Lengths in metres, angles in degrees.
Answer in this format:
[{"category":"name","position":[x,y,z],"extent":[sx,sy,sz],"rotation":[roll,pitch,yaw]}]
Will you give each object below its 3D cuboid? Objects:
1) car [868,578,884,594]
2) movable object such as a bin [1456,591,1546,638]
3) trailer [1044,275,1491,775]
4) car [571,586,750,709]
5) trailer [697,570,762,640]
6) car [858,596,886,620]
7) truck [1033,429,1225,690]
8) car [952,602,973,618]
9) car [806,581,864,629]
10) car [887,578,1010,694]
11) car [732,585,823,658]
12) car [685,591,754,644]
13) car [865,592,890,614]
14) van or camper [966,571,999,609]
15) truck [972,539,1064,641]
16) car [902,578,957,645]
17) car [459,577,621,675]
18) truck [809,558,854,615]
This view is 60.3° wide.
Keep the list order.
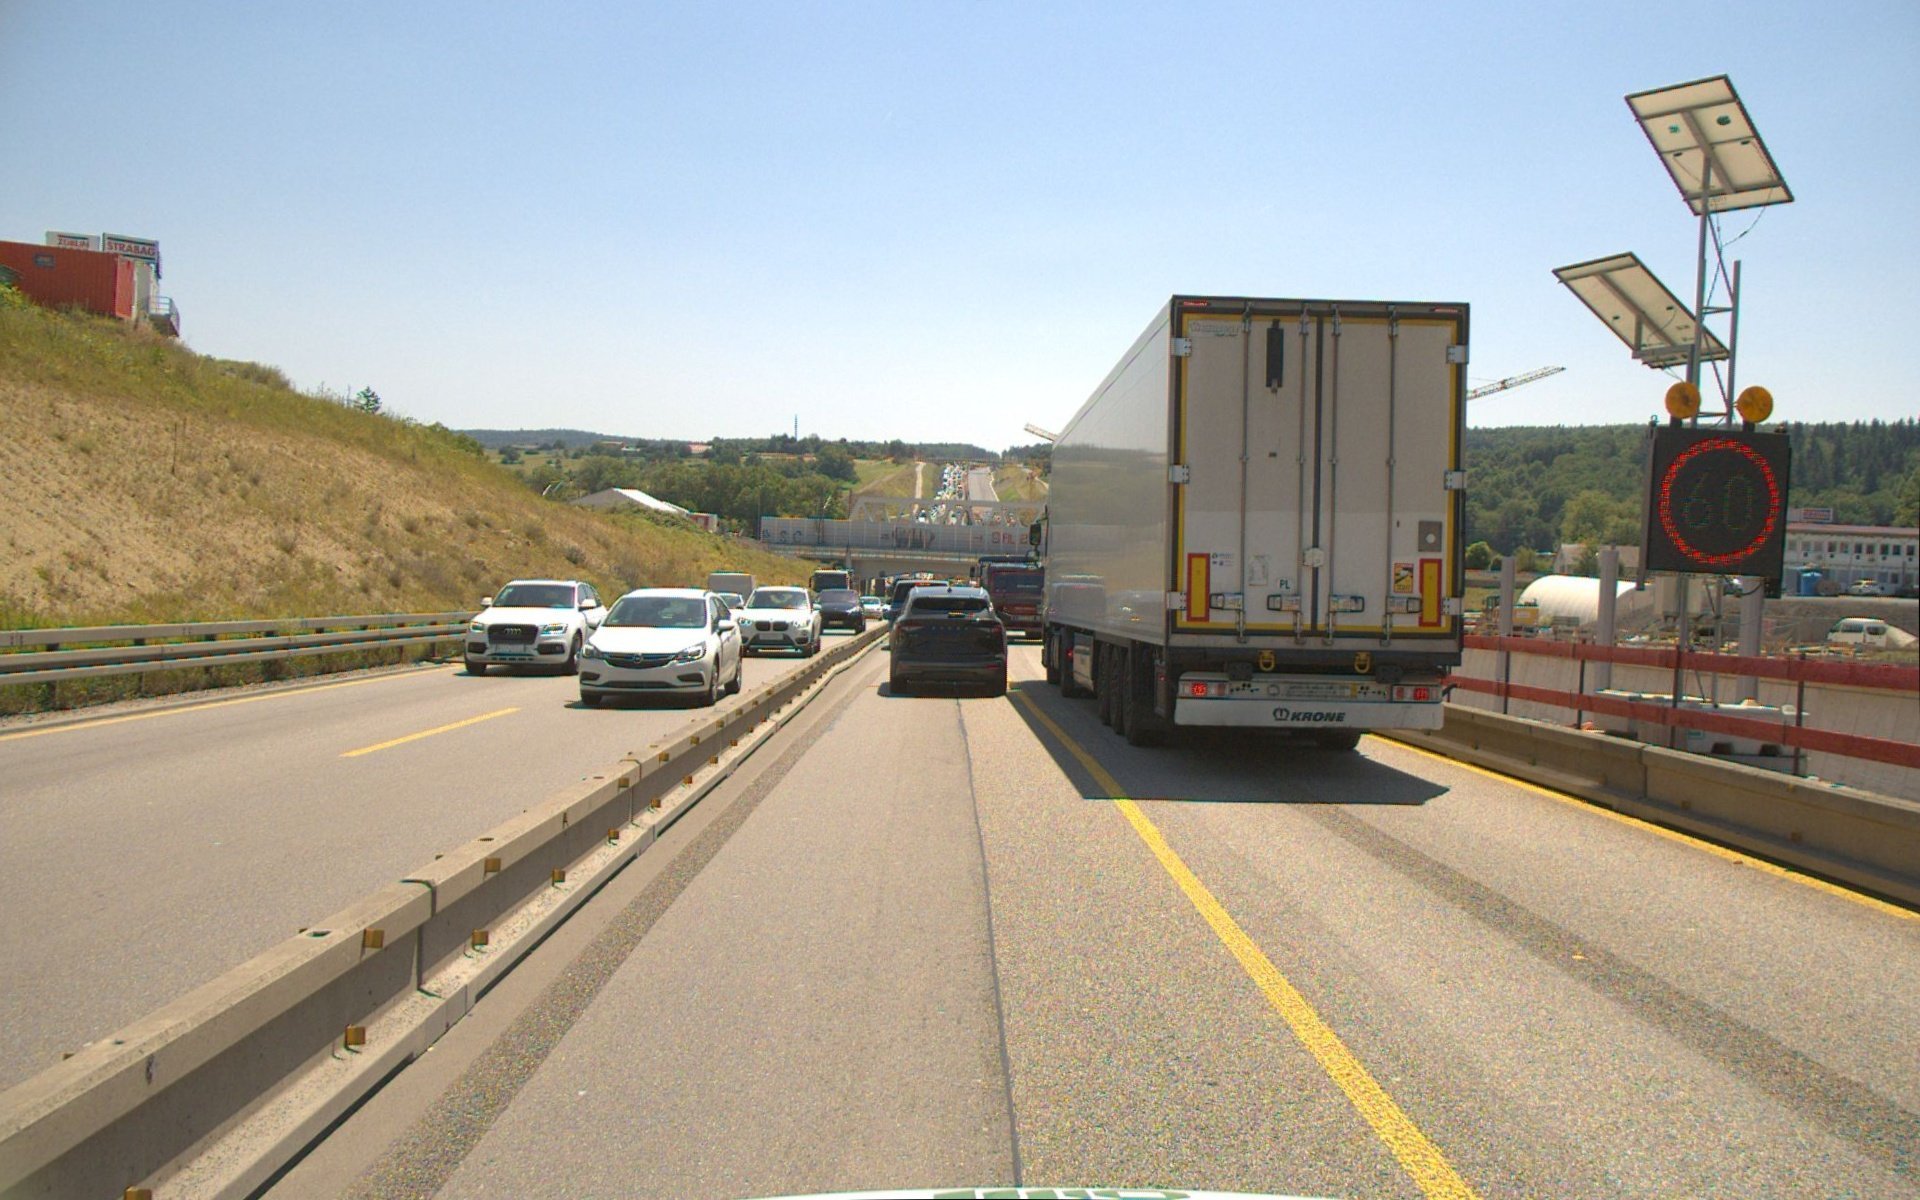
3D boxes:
[{"category":"car","position":[-9.842,-1.621,193.990],"extent":[1.697,1.825,3.580],"rotation":[1,0,-1]},{"category":"movable object such as a bin","position":[35.874,0.911,110.043],"extent":[2.828,2.960,9.478],"rotation":[1,0,0]},{"category":"trailer","position":[2.930,-0.620,20.831],"extent":[2.744,4.129,14.113],"rotation":[1,0,-1]},{"category":"car","position":[-4.005,0.582,22.772],"extent":[1.769,1.503,4.279],"rotation":[1,0,-2]},{"category":"trailer","position":[-7.075,0.125,51.074],"extent":[1.614,2.061,4.267],"rotation":[0,0,-3]},{"category":"car","position":[-5.441,0.492,102.360],"extent":[1.650,1.455,3.291],"rotation":[1,0,-2]},{"category":"truck","position":[2.804,-0.647,28.823],"extent":[2.720,4.129,4.903],"rotation":[1,0,-1]},{"category":"car","position":[0.183,0.778,128.051],"extent":[1.507,1.227,3.309],"rotation":[1,0,-3]},{"category":"car","position":[-4.679,0.184,62.319],"extent":[1.852,1.738,4.561],"rotation":[0,0,0]},{"category":"car","position":[-0.192,0.507,25.745],"extent":[1.764,1.648,3.297],"rotation":[1,1,-1]},{"category":"car","position":[-4.304,0.469,39.505],"extent":[1.779,1.620,4.289],"rotation":[1,0,-2]},{"category":"car","position":[-6.904,0.475,47.811],"extent":[1.614,1.440,3.997],"rotation":[0,0,-3]},{"category":"car","position":[-5.645,0.197,113.554],"extent":[1.650,1.455,4.121],"rotation":[1,0,-2]},{"category":"van or camper","position":[1.396,-0.646,105.037],"extent":[1.953,2.283,4.000],"rotation":[2,1,0]},{"category":"truck","position":[1.900,-0.316,58.796],"extent":[2.756,3.190,12.836],"rotation":[1,0,0]},{"category":"car","position":[-0.826,0.303,46.500],"extent":[1.444,1.826,3.298],"rotation":[0,0,0]},{"category":"car","position":[-7.487,0.423,29.904],"extent":[1.861,1.612,4.513],"rotation":[1,0,-2]},{"category":"truck","position":[-8.935,-0.932,115.639],"extent":[2.534,3.788,9.330],"rotation":[0,0,-1]}]
